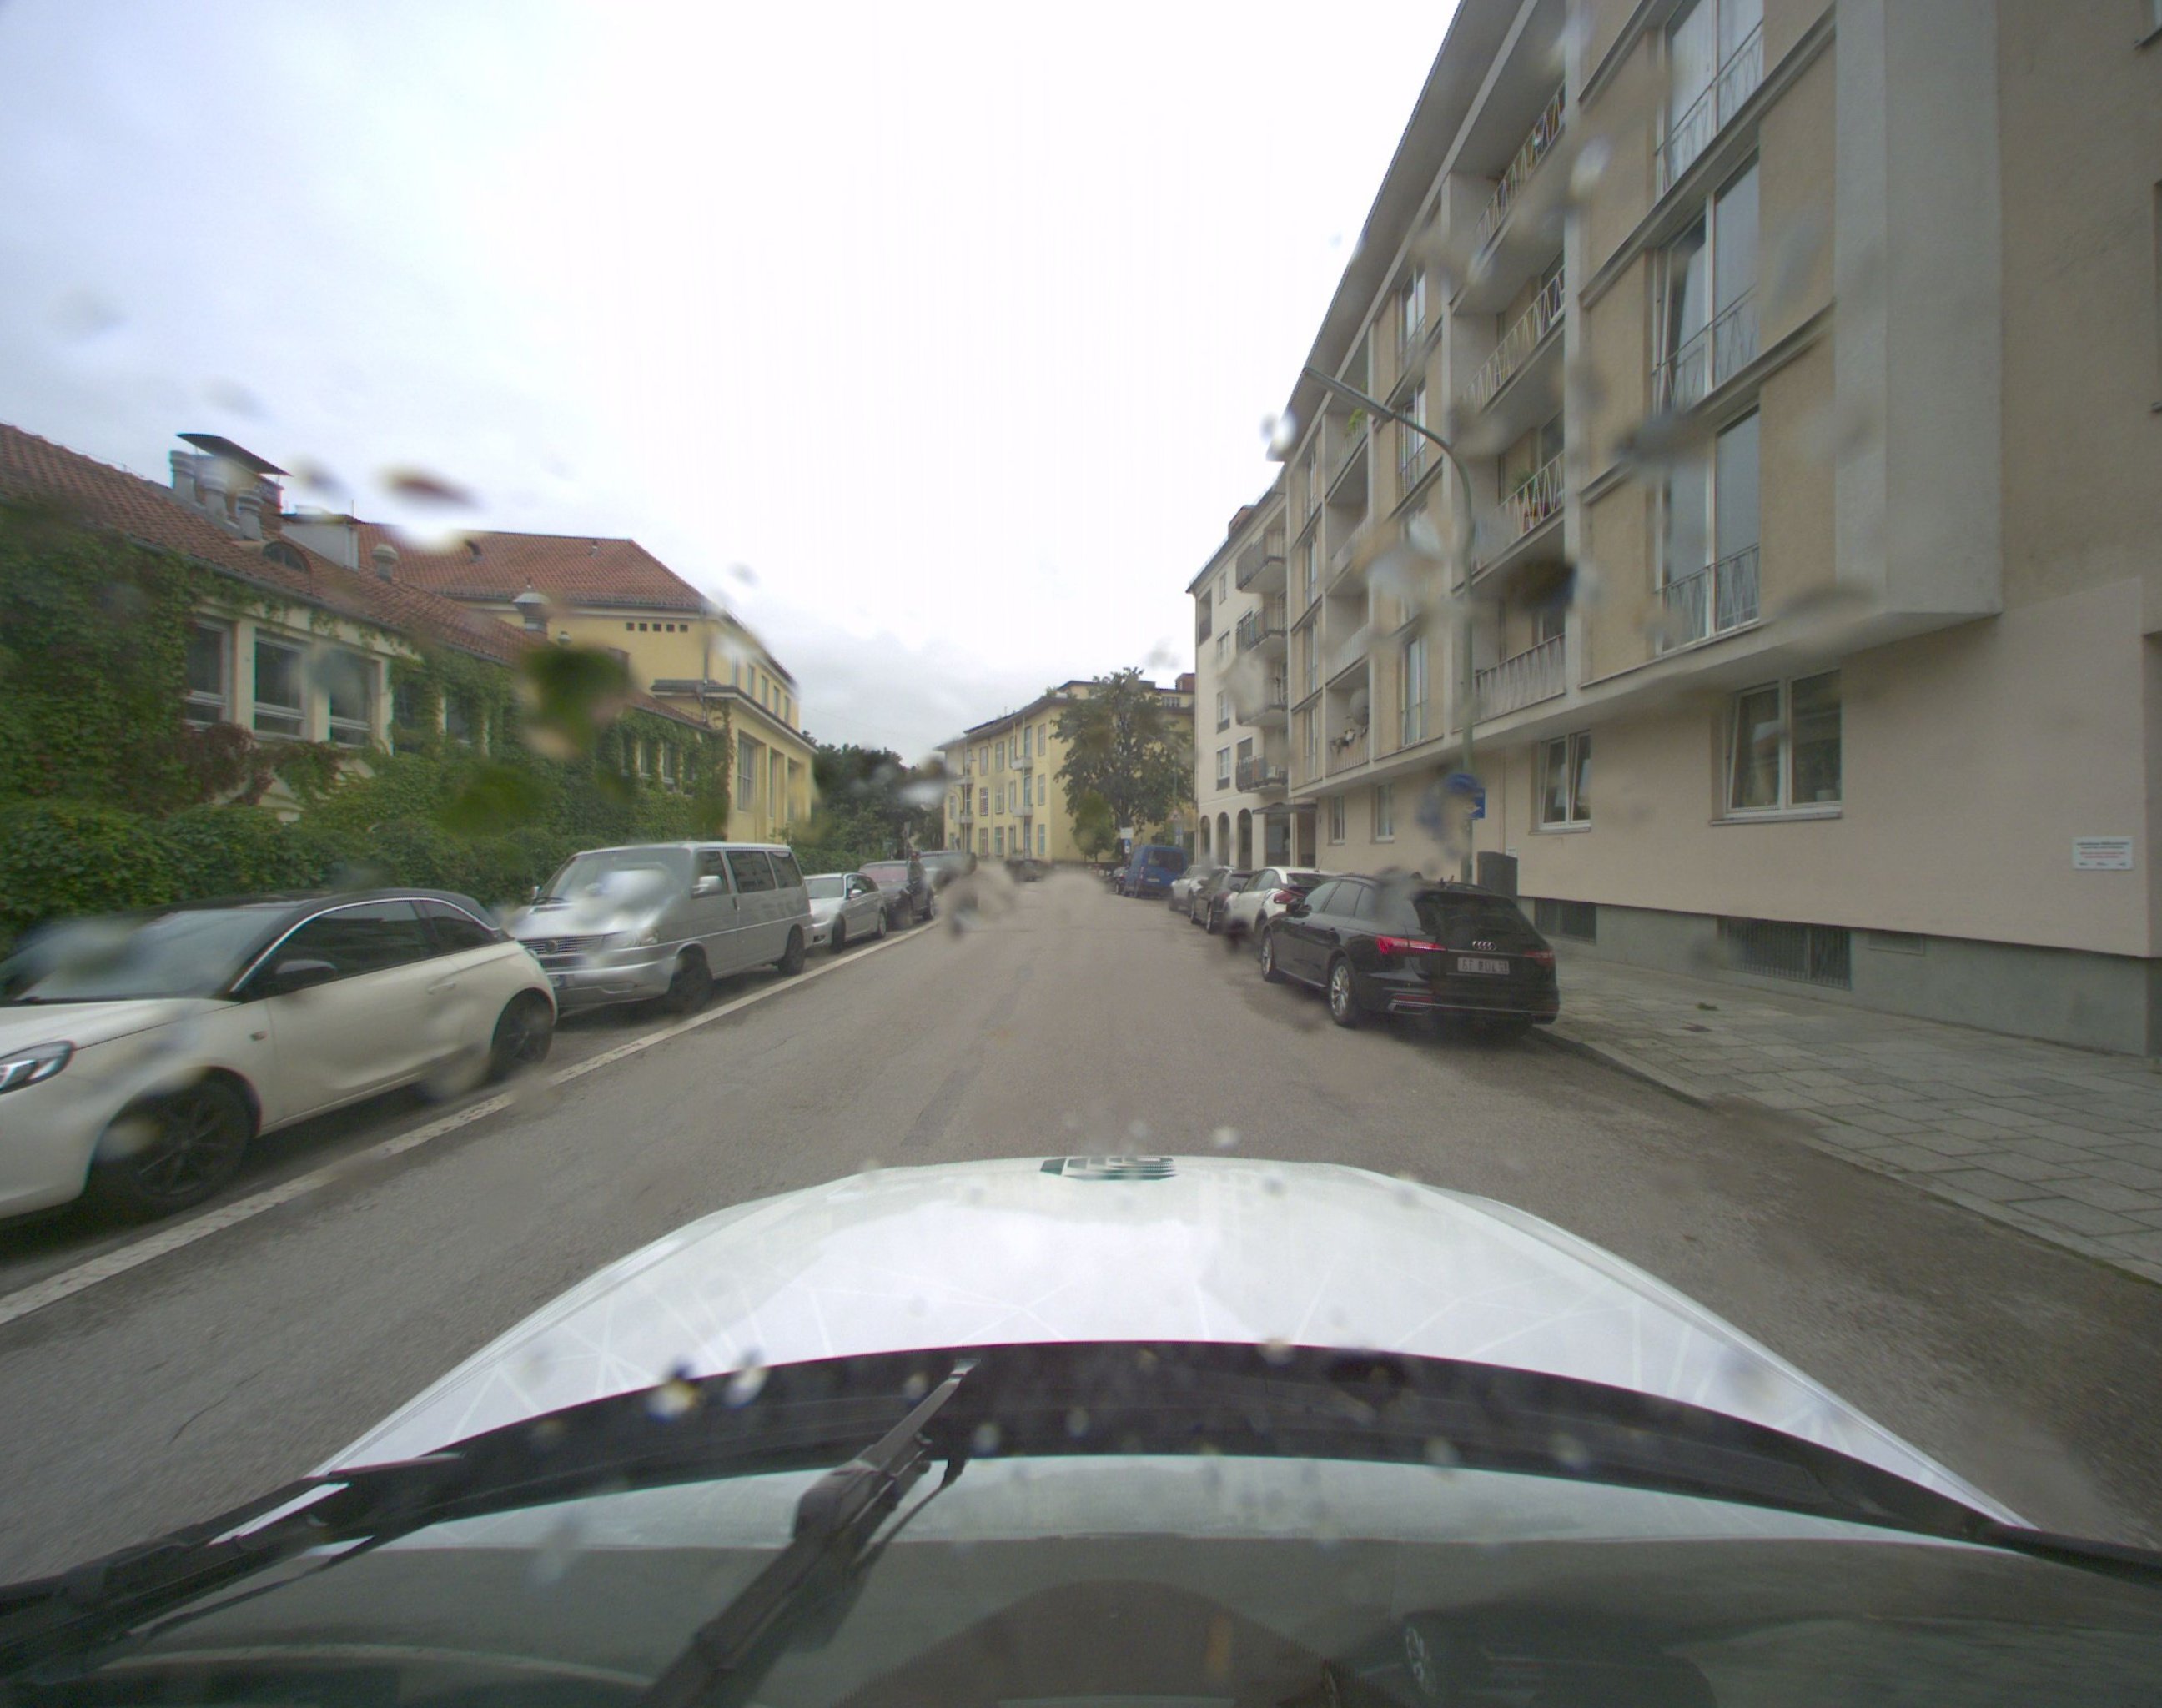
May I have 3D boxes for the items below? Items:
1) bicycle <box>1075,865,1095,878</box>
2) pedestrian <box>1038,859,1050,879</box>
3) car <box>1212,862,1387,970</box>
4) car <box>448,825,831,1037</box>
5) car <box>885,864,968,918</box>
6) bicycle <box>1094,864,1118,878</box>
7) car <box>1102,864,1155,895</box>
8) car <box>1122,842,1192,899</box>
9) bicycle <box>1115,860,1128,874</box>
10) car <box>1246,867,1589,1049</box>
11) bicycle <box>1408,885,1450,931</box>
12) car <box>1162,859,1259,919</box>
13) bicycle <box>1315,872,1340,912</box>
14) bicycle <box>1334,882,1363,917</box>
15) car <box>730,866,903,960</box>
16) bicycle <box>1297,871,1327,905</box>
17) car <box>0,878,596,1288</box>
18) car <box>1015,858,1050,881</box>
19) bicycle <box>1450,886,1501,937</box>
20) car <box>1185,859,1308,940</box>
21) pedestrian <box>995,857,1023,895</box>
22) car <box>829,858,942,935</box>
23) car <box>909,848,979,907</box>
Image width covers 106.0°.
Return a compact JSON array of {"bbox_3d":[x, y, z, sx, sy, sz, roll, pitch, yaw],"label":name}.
[{"bbox_3d":[0.360,1.590,73.736,1.903,1.201,0.599,0,-1,37],"label":"bicycle"},{"bbox_3d":[-3.306,1.346,73.003,0.877,1.823,0.793,0,-1,-20],"label":"pedestrian"},{"bbox_3d":[3.563,0.927,14.177,1.689,1.489,4.577,2,0,-1],"label":"car"},{"bbox_3d":[-4.869,0.735,10.000,1.880,1.889,4.776,-3,0,2],"label":"car"},{"bbox_3d":[-4.800,1.111,25.895,1.689,1.393,4.499,-4,0,0],"label":"car"},{"bbox_3d":[2.230,1.545,72.546,2.052,1.201,0.597,0,0,14],"label":"bicycle"},{"bbox_3d":[2.399,1.295,42.374,1.677,1.389,4.289,4,-1,-11],"label":"car"},{"bbox_3d":[3.270,0.789,36.225,2.076,2.234,5.233,4,-3,-5],"label":"car"},{"bbox_3d":[3.321,1.056,67.114,0.670,1.159,1.997,0,-1,-9],"label":"bicycle"},{"bbox_3d":[3.304,0.906,9.235,1.740,1.388,4.951,2,0,-1],"label":"car"},{"bbox_3d":[7.575,1.154,17.772,0.376,0.905,1.392,0,0,2],"label":"bicycle"},{"bbox_3d":[3.782,0.974,24.534,1.782,1.533,4.640,3,0,-5],"label":"car"},{"bbox_3d":[7.377,1.126,24.414,0.376,1.119,1.392,0,0,2],"label":"bicycle"},{"bbox_3d":[7.391,1.253,22.561,0.376,0.905,1.392,0,0,2],"label":"bicycle"},{"bbox_3d":[-4.888,1.003,15.830,1.647,1.414,4.772,-3,0,1],"label":"car"},{"bbox_3d":[7.855,1.137,27.791,0.454,1.110,1.853,0,0,-2],"label":"bicycle"},{"bbox_3d":[-4.887,0.950,4.829,1.586,1.441,4.017,-3,0,-1],"label":"car"},{"bbox_3d":[-4.377,1.369,72.796,1.769,1.874,4.348,4,-1,-21],"label":"car"},{"bbox_3d":[7.732,1.107,15.999,0.376,0.905,1.392,0,0,2],"label":"bicycle"},{"bbox_3d":[3.708,0.946,19.210,1.873,1.522,5.164,3,0,1],"label":"car"},{"bbox_3d":[-3.543,1.073,39.985,0.923,1.801,0.962,-2,-2,44],"label":"pedestrian"},{"bbox_3d":[-4.792,0.974,20.590,1.692,1.643,4.489,-3,0,0],"label":"car"},{"bbox_3d":[-5.125,0.846,31.147,2.069,1.964,5.340,-2,-1,-5],"label":"car"}]
